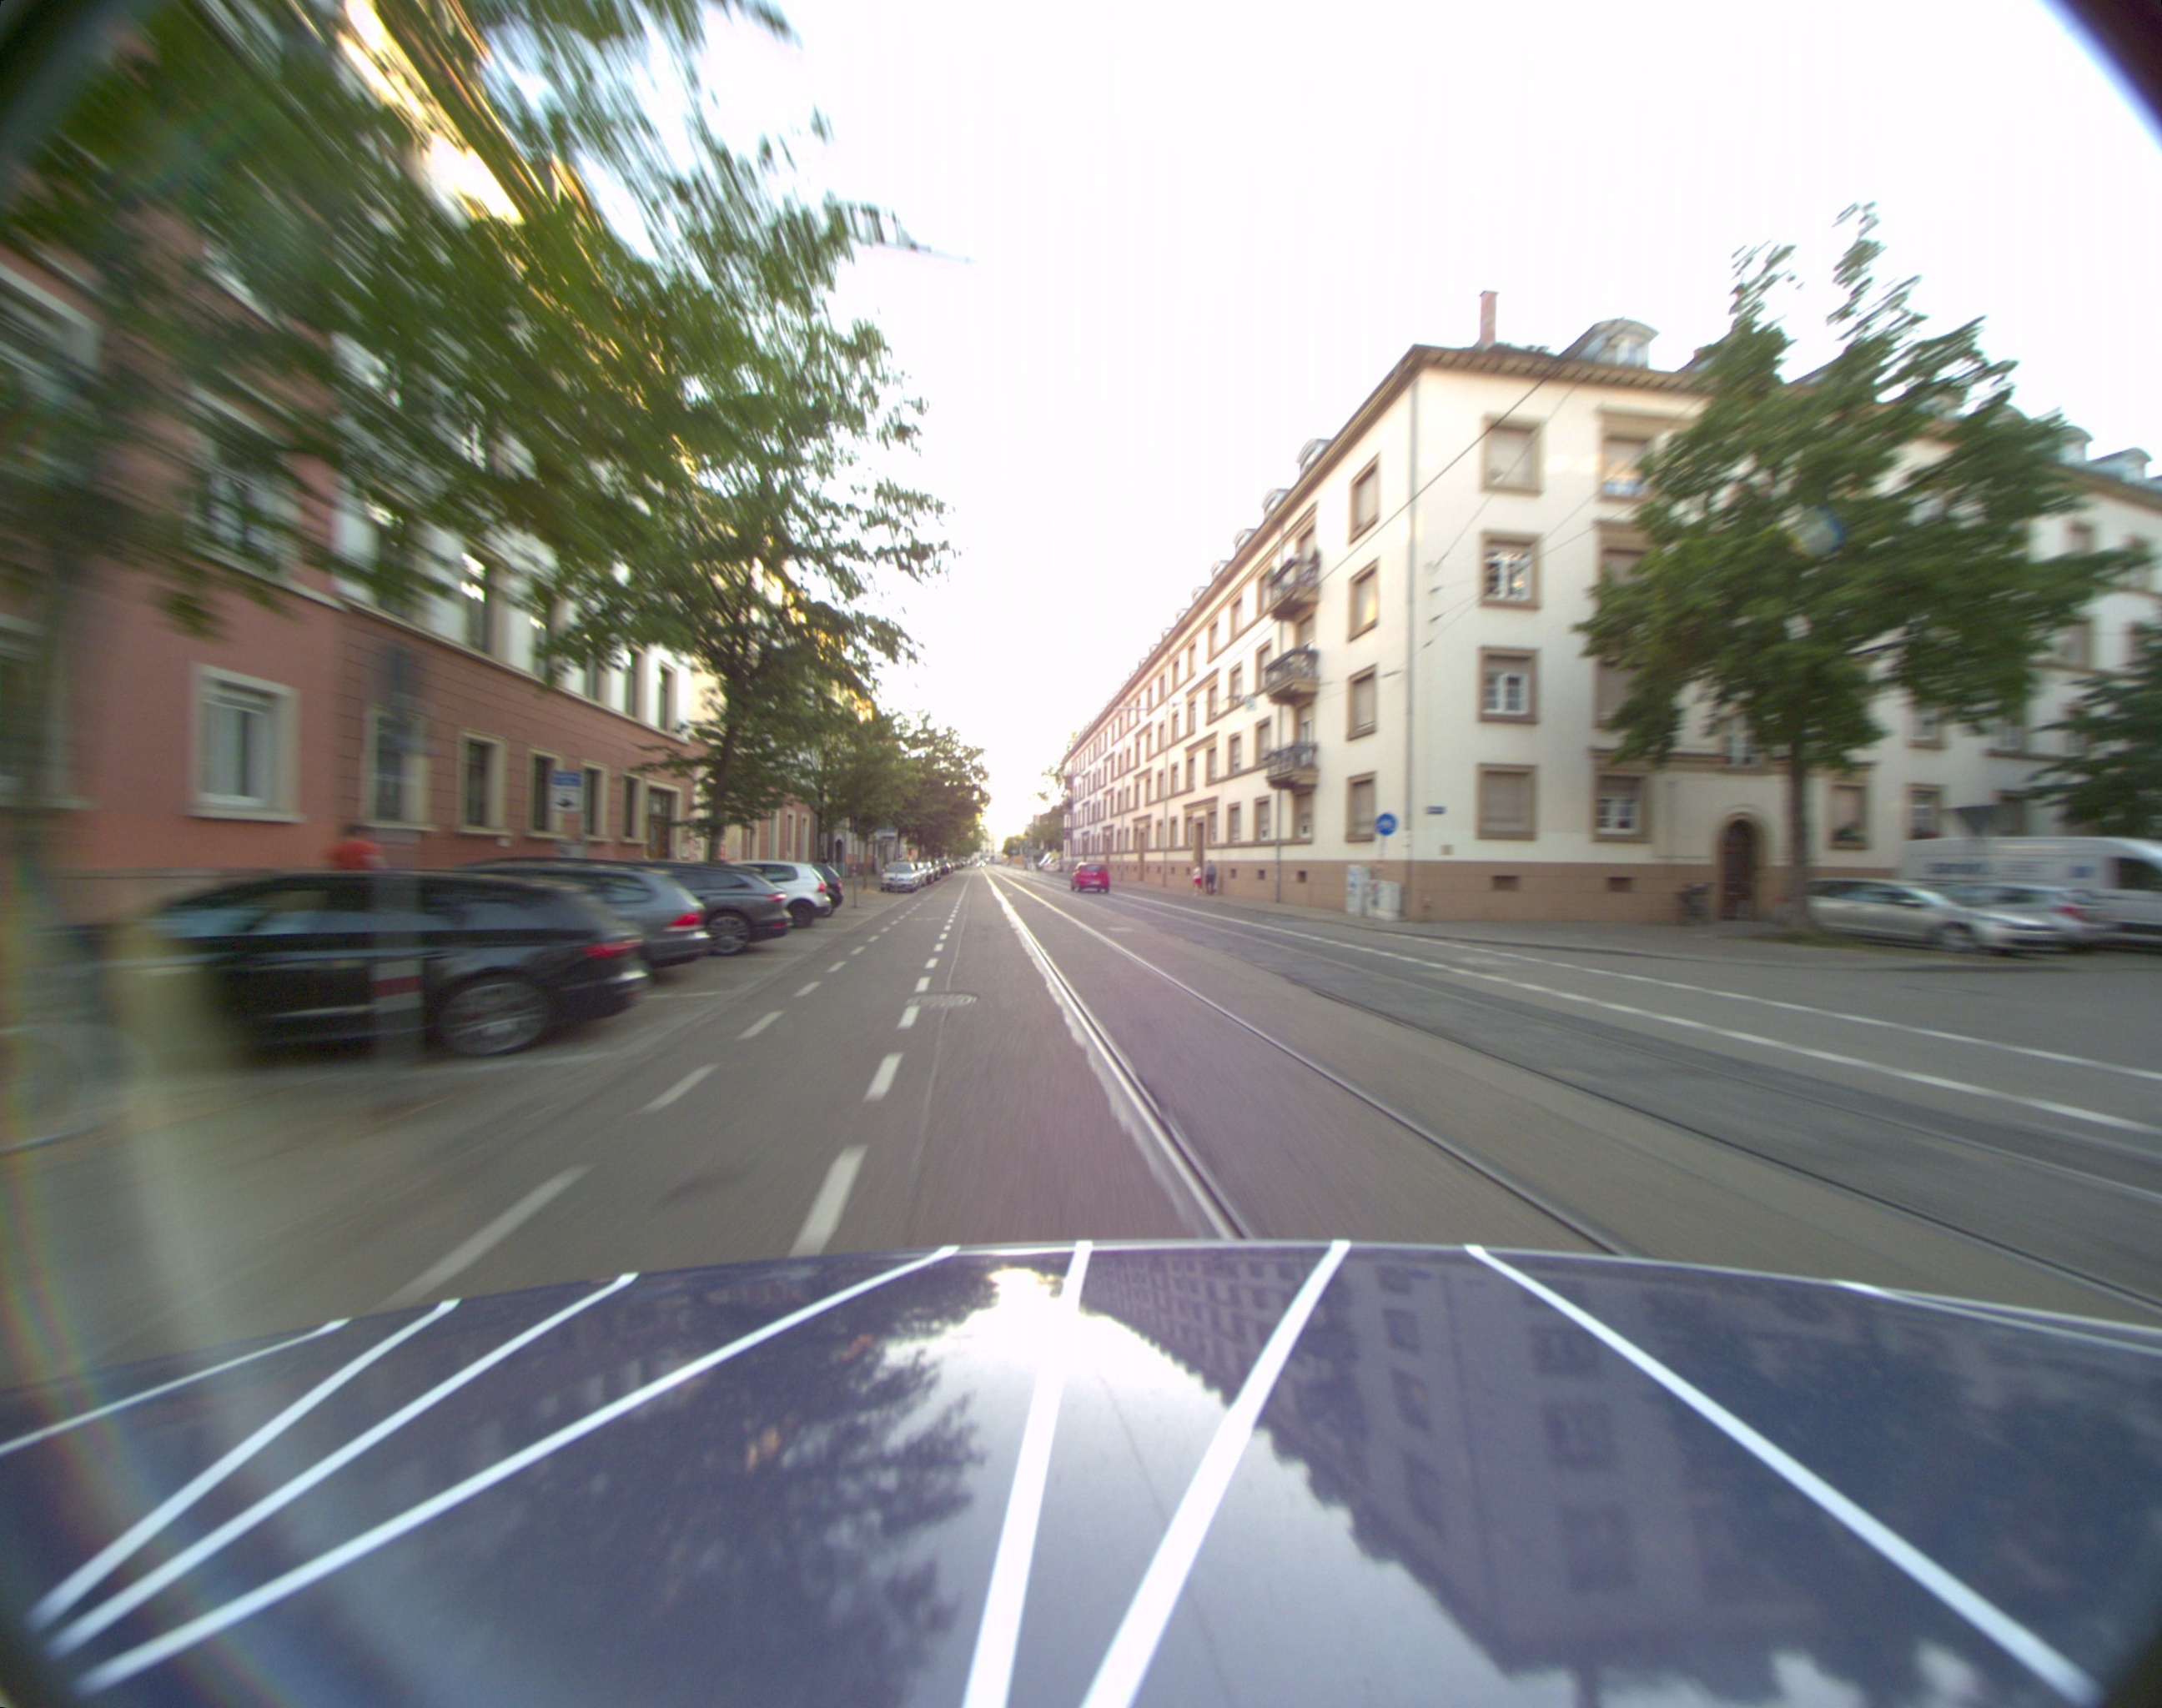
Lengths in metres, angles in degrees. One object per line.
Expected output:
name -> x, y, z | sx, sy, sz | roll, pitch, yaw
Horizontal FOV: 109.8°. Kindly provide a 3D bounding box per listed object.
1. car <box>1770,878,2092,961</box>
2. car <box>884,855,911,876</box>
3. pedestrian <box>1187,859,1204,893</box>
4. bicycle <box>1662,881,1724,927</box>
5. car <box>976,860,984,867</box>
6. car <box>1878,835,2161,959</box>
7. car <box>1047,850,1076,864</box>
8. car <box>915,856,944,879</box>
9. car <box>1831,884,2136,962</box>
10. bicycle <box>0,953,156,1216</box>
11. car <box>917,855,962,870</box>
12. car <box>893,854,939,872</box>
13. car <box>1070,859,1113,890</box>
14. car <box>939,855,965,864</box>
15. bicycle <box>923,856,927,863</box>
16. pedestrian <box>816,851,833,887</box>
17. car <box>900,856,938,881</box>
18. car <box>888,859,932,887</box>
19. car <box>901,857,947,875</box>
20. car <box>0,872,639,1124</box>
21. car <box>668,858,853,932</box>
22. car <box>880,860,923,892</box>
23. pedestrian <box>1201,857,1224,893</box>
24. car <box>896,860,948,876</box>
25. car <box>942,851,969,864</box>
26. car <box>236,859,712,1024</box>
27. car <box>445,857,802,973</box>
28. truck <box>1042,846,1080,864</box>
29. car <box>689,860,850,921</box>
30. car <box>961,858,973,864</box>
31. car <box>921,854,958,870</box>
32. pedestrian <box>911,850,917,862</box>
car -> 18.021, 1.309, 16.432 | 2.001, 1.413, 4.173 | 1, 0, -15
car -> -14.105, 0.869, 58.607 | 1.886, 1.574, 4.016 | 1, 0, -12
pedestrian -> 5.486, 1.030, 36.413 | 0.592, 1.600, 0.810 | 1, 0, -10
bicycle -> 16.698, 1.346, 20.720 | 1.686, 1.206, 0.603 | 1, 0, -25
car -> -26.144, 2.501, 196.792 | 2.000, 1.674, 3.998 | 0, -1, -8
car -> 23.044, 0.911, 17.522 | 2.099, 2.573, 6.122 | 1, 0, -16
car -> -3.680, 0.586, 143.758 | 5.237, 2.581, 2.227 | 0, 0, -11
car -> -11.798, 1.047, 59.381 | 1.886, 1.608, 4.259 | 3, 0, -8
car -> 20.623, 1.491, 17.661 | 1.797, 1.413, 4.173 | 1, 0, -15
bicycle -> -5.705, 1.049, 3.452 | 1.695, 1.095, 0.927 | 3, 0, -8
car -> -14.911, 0.904, 80.141 | 4.398, 1.455, 1.716 | 2, -1, -25
car -> -15.875, 0.896, 73.088 | 4.007, 1.584, 1.716 | 2, -2, -29
car -> 0.500, 1.048, 40.497 | 1.564, 1.549, 3.751 | 2, 0, -10
car -> -24.786, 0.998, 146.304 | 4.646, 1.508, 1.806 | 3, -2, -34
bicycle -> -25.892, 0.908, 126.189 | 0.471, 1.203, 1.782 | 0, 0, -8
pedestrian -> -13.014, 0.742, 38.524 | 0.682, 1.805, 0.600 | 1, 0, -7
car -> -10.569, 0.919, 49.909 | 2.000, 1.480, 5.032 | 2, 0, -7
car -> -9.558, 1.033, 42.882 | 1.786, 1.373, 4.688 | 3, 0, -5
car -> -14.762, 1.137, 71.464 | 3.980, 1.544, 1.716 | 2, -1, -25
car -> -6.116, 0.939, 5.817 | 4.629, 1.448, 1.706 | 3, -1, -32
car -> -7.222, 0.893, 17.191 | 3.574, 1.507, 1.739 | 2, 0, -33
car -> -8.749, 1.033, 37.235 | 1.624, 1.373, 3.773 | 3, 0, -8
pedestrian -> 6.271, 0.986, 36.222 | 0.798, 1.691, 0.980 | 1, 0, -10
car -> -14.314, 1.224, 68.571 | 4.271, 1.380, 1.616 | 1, 0, -33
car -> -26.389, 0.717, 159.602 | 5.240, 2.605, 1.924 | 2, 0, -24
car -> -6.703, 0.901, 8.977 | 4.008, 1.483, 1.826 | 2, 1, -32
car -> -6.998, 0.878, 12.090 | 4.467, 1.507, 2.058 | 2, 0, -30
truck -> -3.993, 0.190, 149.577 | 7.082, 3.408, 2.564 | 0, 0, -11
car -> -8.036, 0.919, 19.680 | 3.574, 1.420, 1.665 | 2, 0, -33
car -> -37.236, 2.362, 248.121 | 3.995, 1.680, 1.721 | 2, -1, -7
car -> -17.198, 1.019, 92.102 | 4.007, 1.805, 1.820 | 2, -1, -29
pedestrian -> -25.976, 0.310, 118.180 | 0.559, 1.820, 0.613 | 0, -3, 29
